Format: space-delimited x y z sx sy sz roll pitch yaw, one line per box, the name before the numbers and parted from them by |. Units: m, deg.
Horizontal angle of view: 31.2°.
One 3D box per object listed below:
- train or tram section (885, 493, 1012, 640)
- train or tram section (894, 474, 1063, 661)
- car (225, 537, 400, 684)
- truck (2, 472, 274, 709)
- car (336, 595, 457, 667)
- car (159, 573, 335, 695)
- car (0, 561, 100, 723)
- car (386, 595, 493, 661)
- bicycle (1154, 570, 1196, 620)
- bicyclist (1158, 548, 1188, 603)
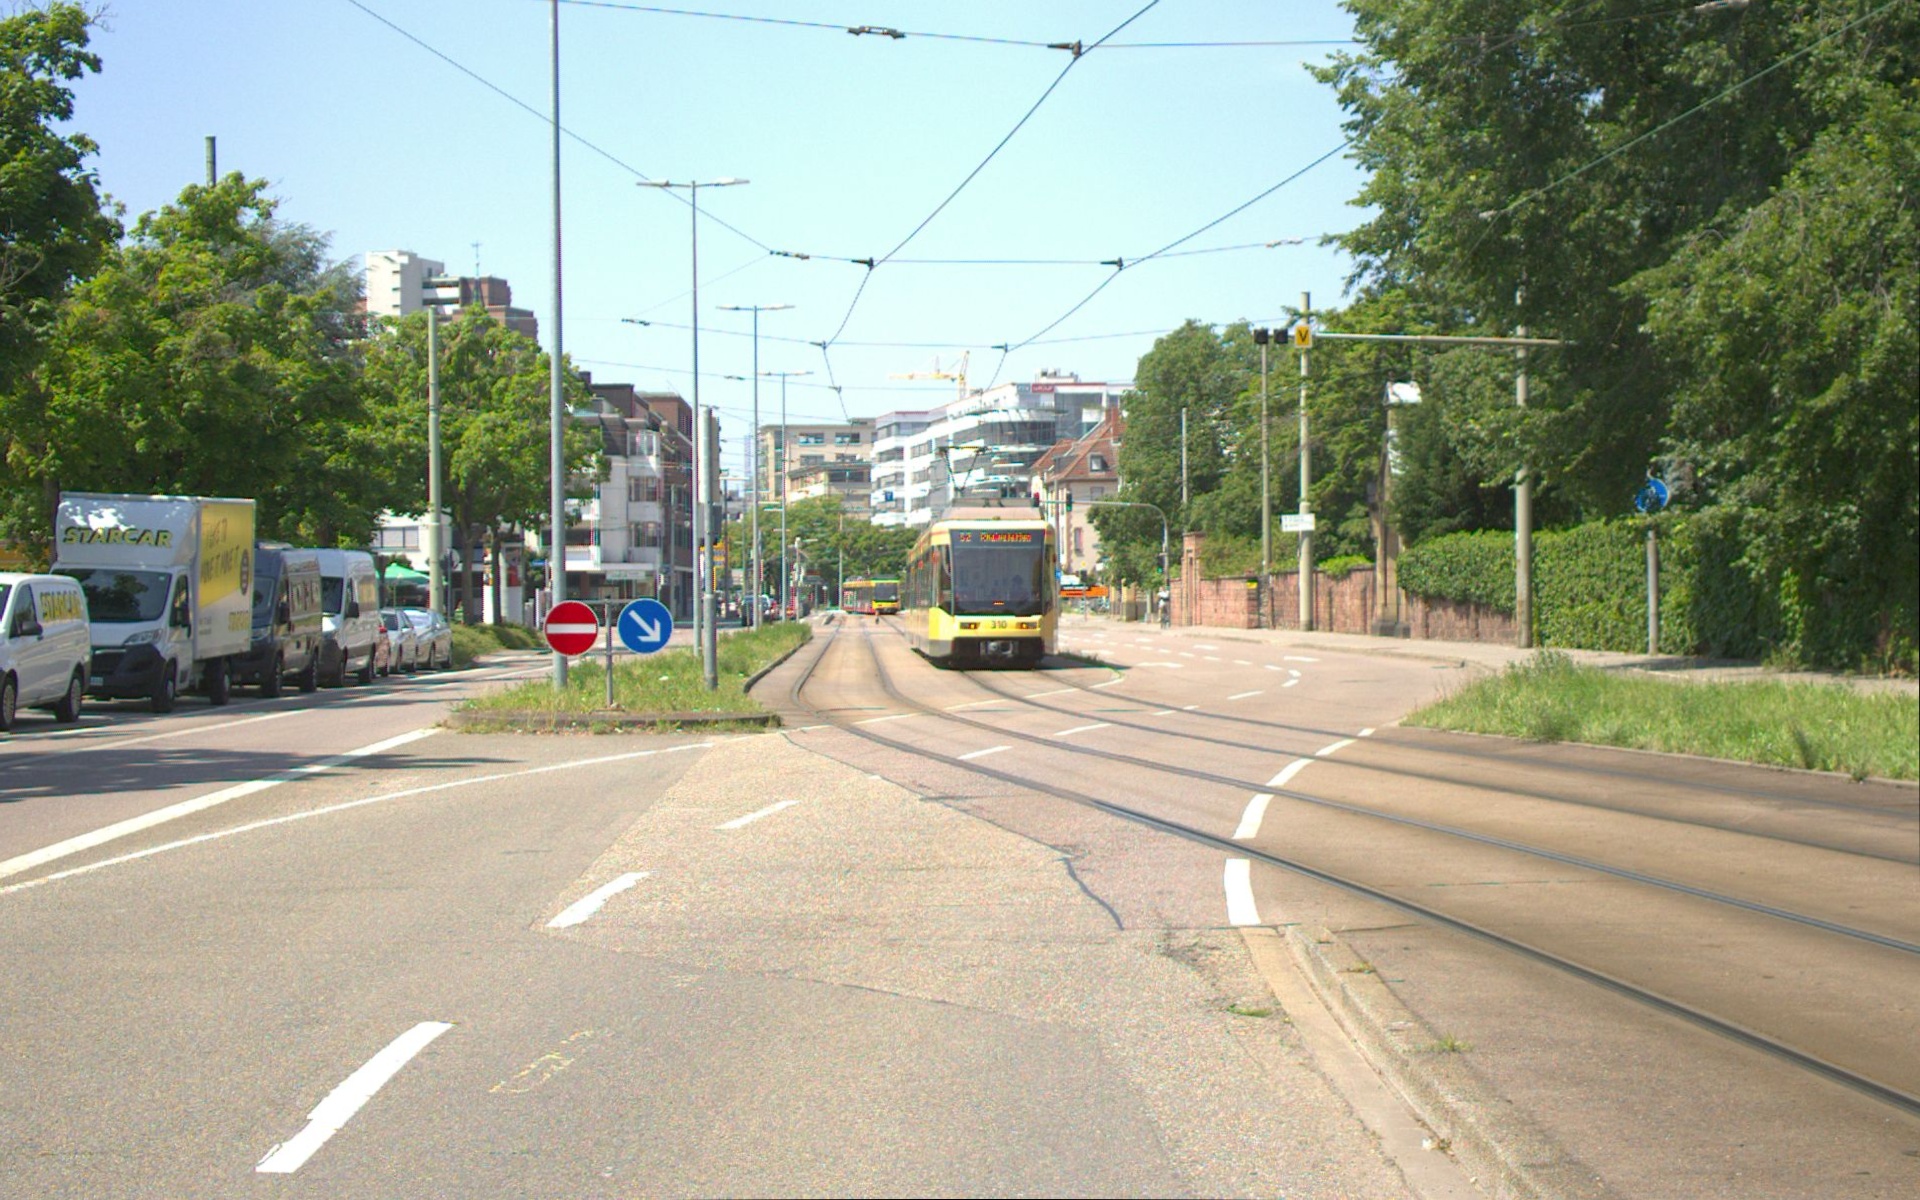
train or tram section | -0.508 -0.944 96.538 2.943 3.679 20.285 0 1 -2
train or tram section | 0.193 -0.728 77.236 2.943 3.679 18.391 0 1 -2
car | -12.443 0.172 66.430 2.157 2.630 5.611 3 0 1
truck | -12.140 -0.163 51.352 2.157 3.199 7.082 3 0 1
car | -13.079 0.691 80.039 2.061 1.576 4.871 -1 0 -1
car | -12.139 0.545 58.837 2.061 1.970 4.871 -1 0 -1
car | -12.291 0.490 42.708 2.061 1.891 4.871 -1 0 -1
car | -13.223 0.698 87.604 2.061 1.576 4.871 -1 0 -1
bicycle | 8.374 -0.204 133.932 1.092 1.901 3.682 -1 0 -4
bicyclist | 8.291 -0.943 133.816 1.096 2.101 1.031 0 0 -1
